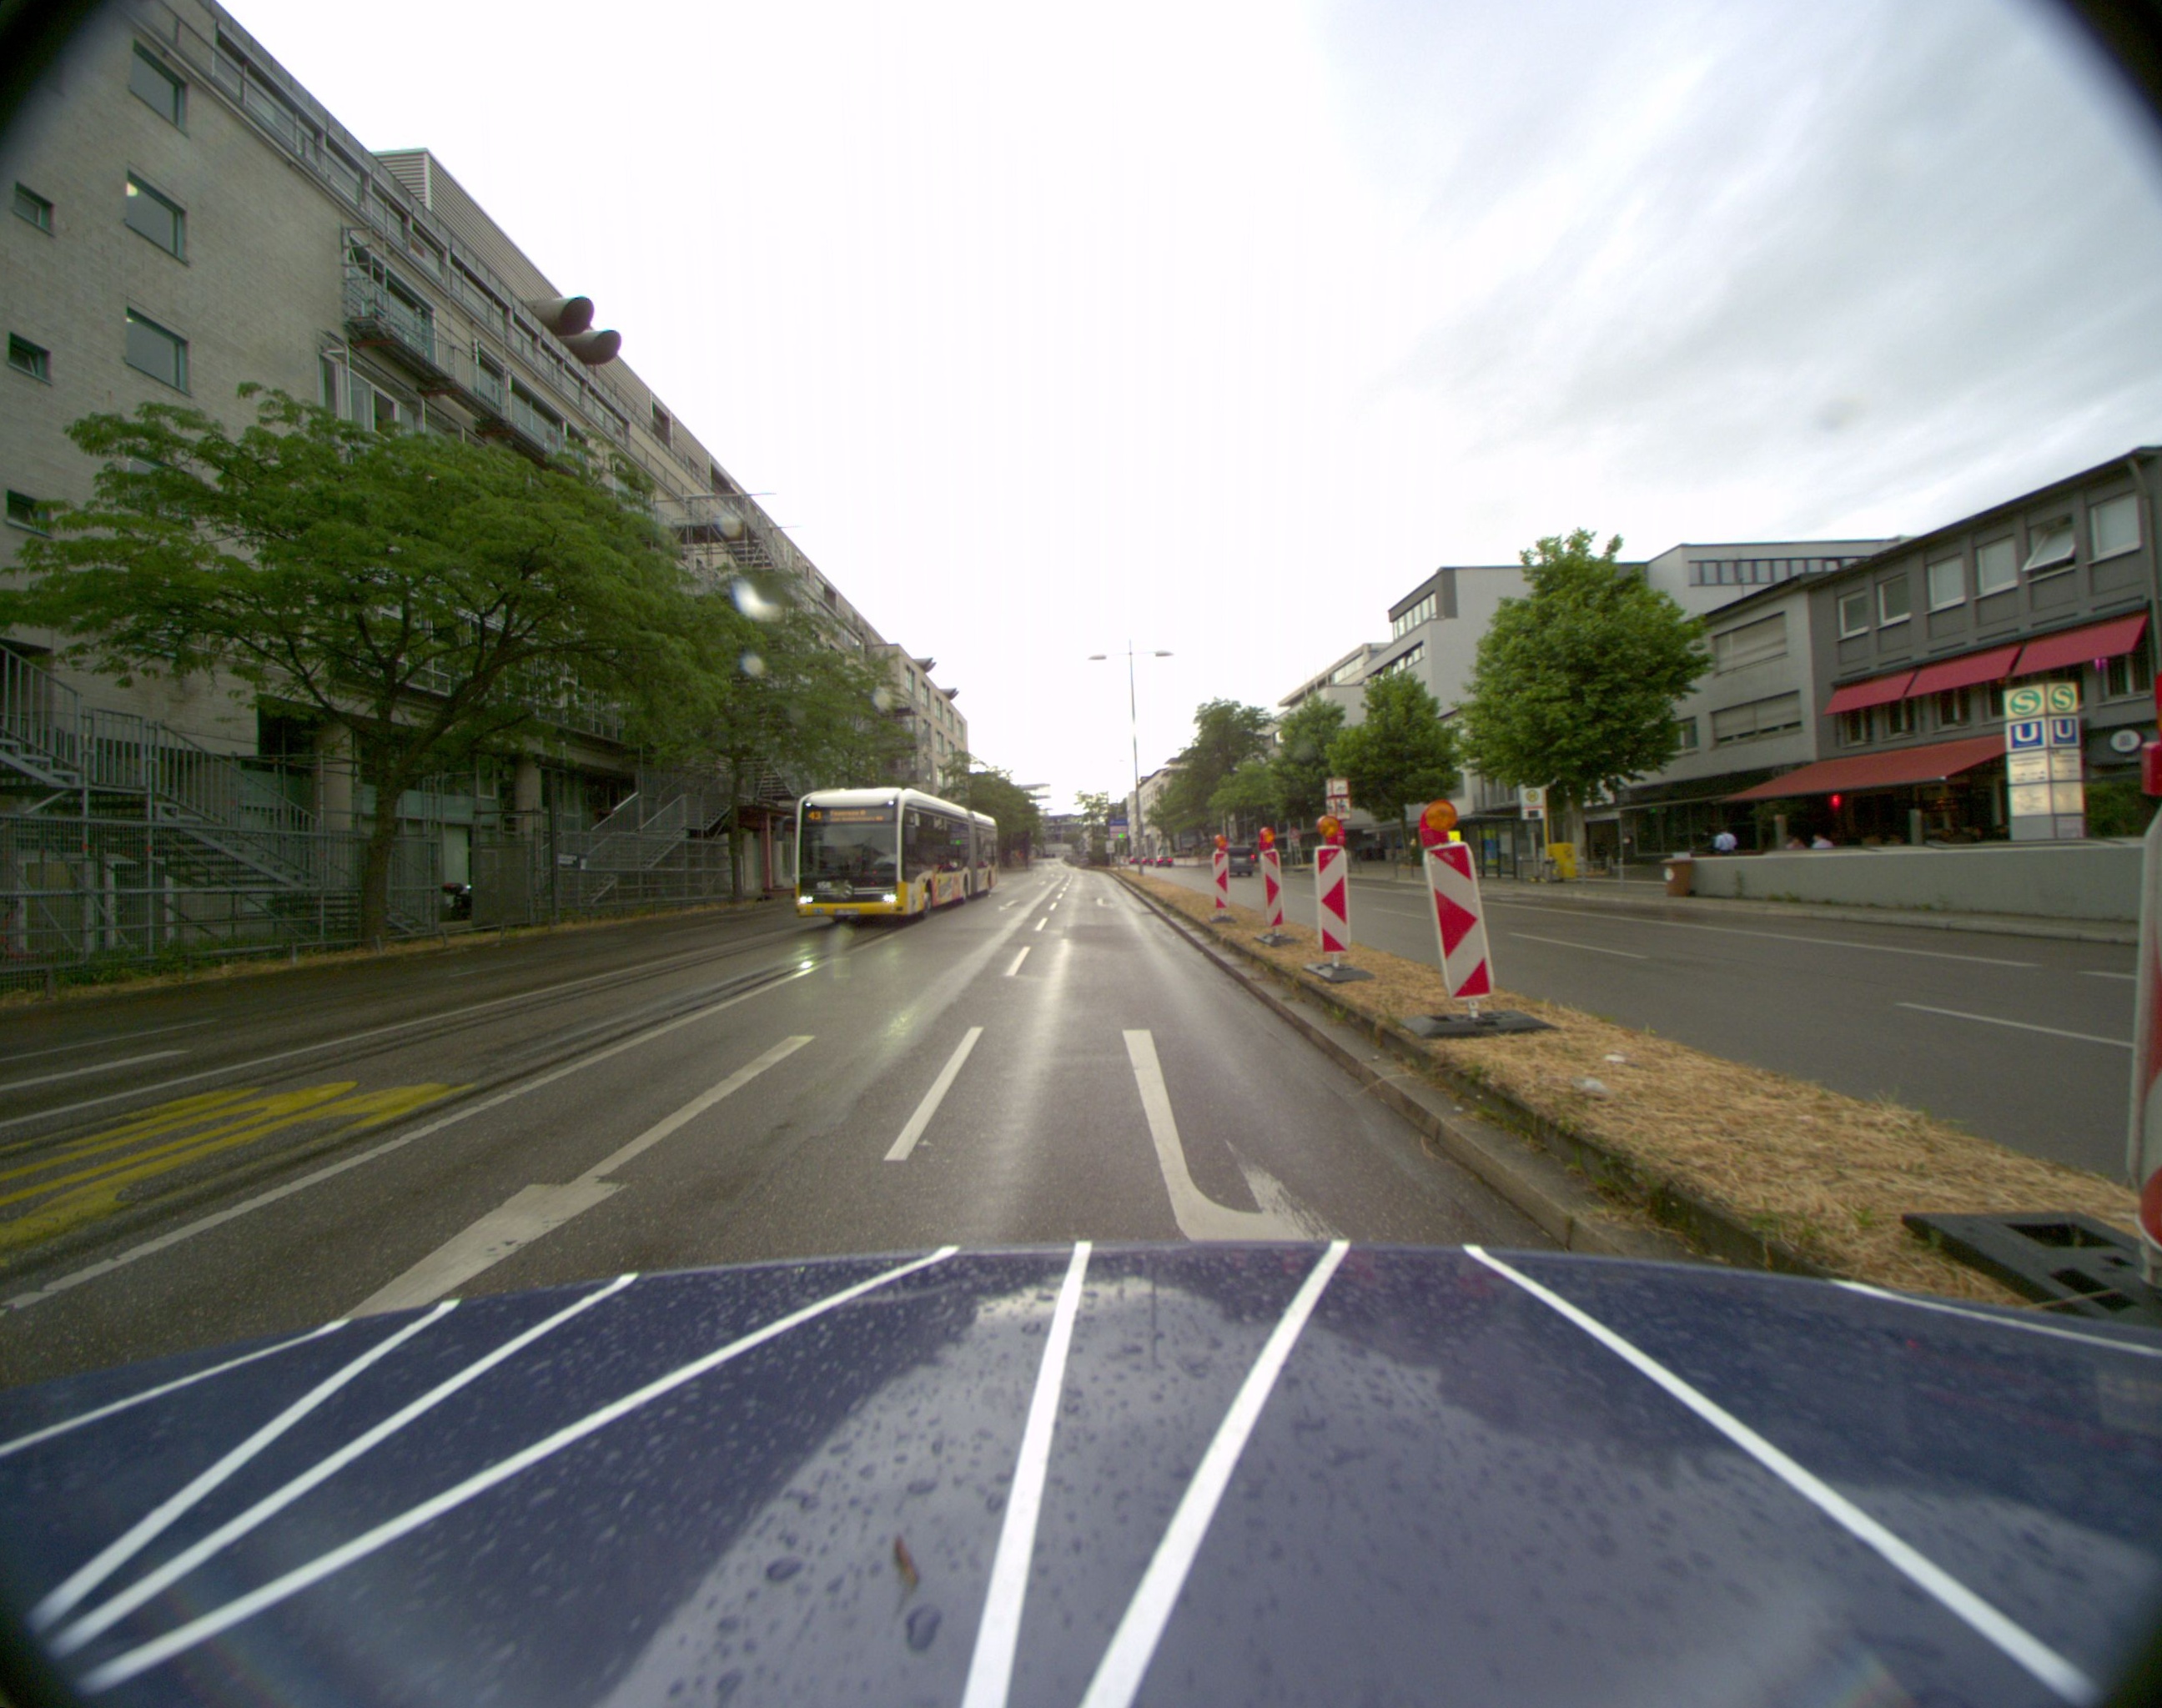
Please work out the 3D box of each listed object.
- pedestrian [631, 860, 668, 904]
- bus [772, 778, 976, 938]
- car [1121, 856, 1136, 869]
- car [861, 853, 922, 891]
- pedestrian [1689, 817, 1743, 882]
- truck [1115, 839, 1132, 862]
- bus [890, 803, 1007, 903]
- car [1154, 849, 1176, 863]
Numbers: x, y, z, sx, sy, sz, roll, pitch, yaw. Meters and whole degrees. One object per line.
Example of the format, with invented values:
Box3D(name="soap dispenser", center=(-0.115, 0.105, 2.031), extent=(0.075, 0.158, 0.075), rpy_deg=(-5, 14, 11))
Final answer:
Box3D(name="pedestrian", center=(-18.323, 1.194, 32.303), extent=(1.010, 1.789, 0.845), rpy_deg=(-2, 1, -4))
Box3D(name="bus", center=(-5.248, 0.028, 21.681), extent=(2.890, 3.430, 9.756), rpy_deg=(-2, 1, 1))
Box3D(name="car", center=(7.764, 1.346, 125.072), extent=(1.999, 2.002, 3.999), rpy_deg=(-2, 1, -2))
Box3D(name="car", center=(-10.533, 0.965, 42.658), extent=(2.213, 1.895, 4.329), rpy_deg=(-2, 1, 0))
Box3D(name="pedestrian", center=(20.308, -0.153, 24.313), extent=(0.922, 2.002, 0.944), rpy_deg=(-2, 1, 0))
Box3D(name="truck", center=(7.091, -0.567, 127.118), extent=(1.999, 3.557, 7.572), rpy_deg=(-2, 0, -2))
Box3D(name="bus", center=(-5.104, -0.090, 31.424), extent=(2.890, 3.420, 9.709), rpy_deg=(-2, 1, 1))
Box3D(name="car", center=(9.984, 0.239, 90.656), extent=(1.692, 1.501, 4.290), rpy_deg=(4, -1, -4))
